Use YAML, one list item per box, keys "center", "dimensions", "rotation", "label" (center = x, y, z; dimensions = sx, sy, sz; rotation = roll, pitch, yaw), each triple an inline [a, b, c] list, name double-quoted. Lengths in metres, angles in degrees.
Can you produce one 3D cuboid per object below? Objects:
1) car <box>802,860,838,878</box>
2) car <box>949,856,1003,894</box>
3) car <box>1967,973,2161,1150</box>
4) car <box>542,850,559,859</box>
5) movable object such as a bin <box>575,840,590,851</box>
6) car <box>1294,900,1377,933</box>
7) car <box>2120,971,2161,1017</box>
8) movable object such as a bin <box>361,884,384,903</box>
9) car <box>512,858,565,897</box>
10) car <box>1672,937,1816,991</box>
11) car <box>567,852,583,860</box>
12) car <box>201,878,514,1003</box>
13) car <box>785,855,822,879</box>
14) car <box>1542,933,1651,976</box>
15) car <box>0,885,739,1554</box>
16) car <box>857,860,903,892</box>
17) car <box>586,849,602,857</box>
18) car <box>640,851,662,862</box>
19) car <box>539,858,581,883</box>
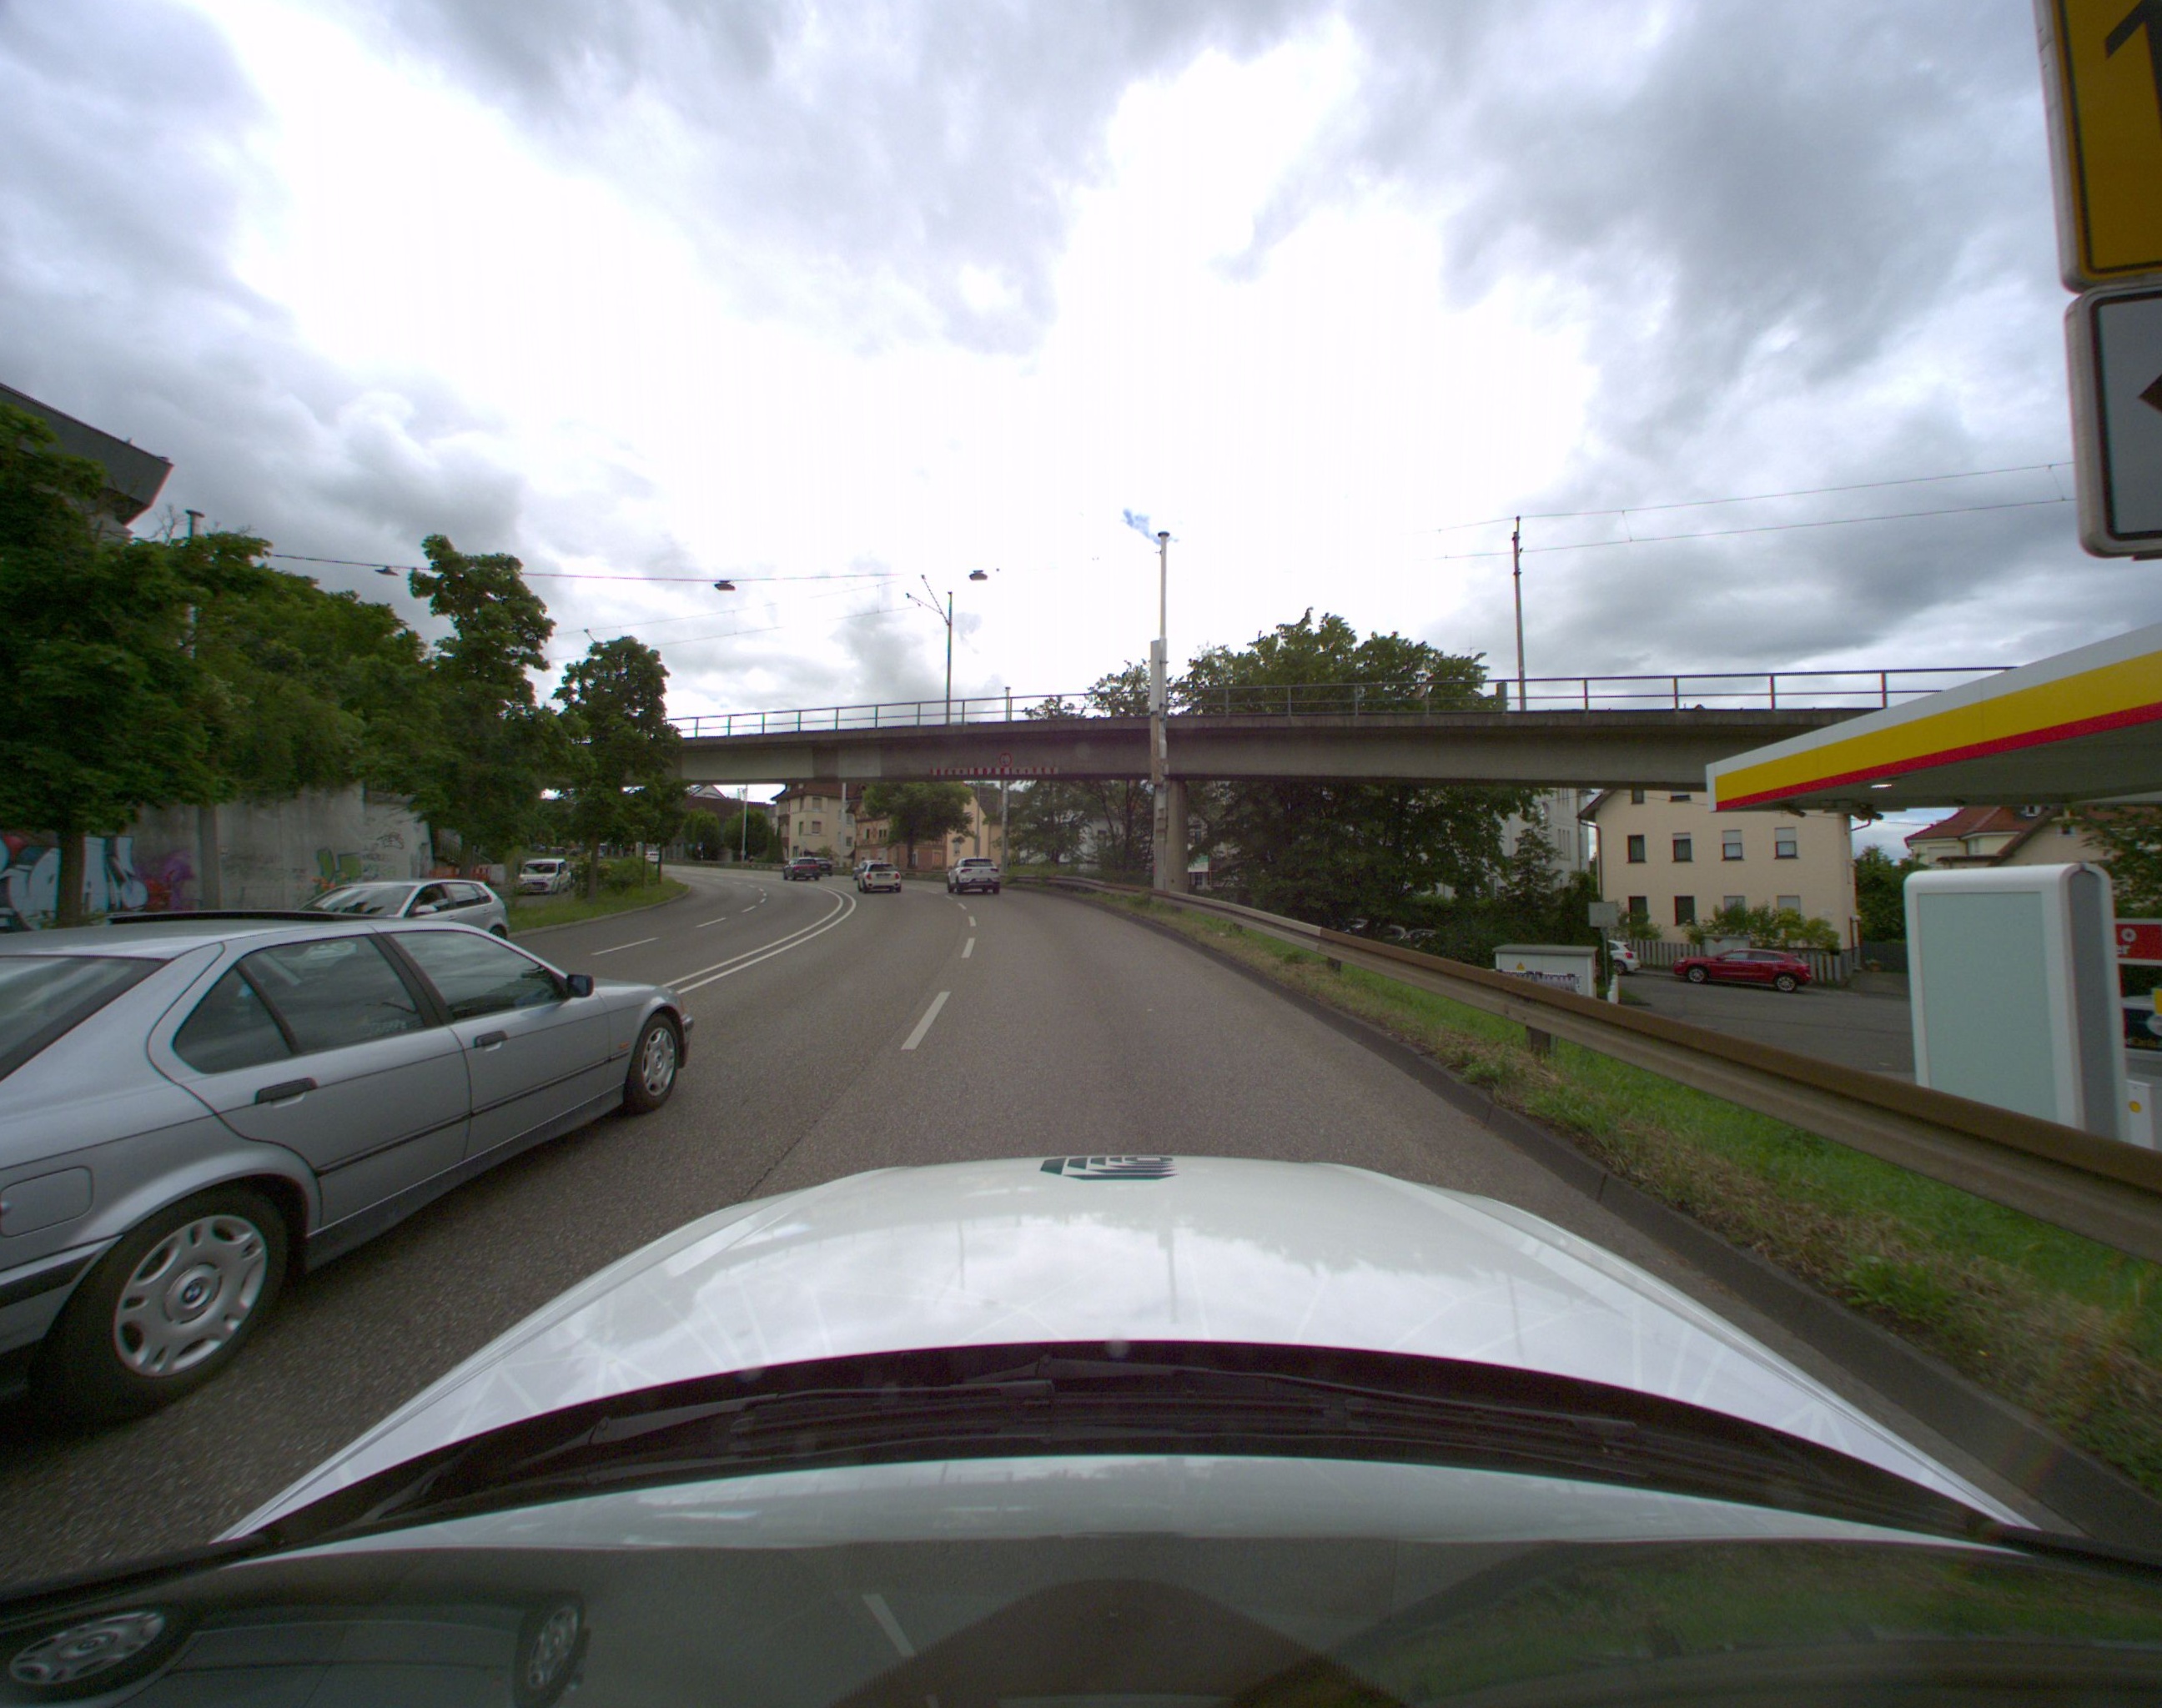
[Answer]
- center: [-21.658, 1.221, 67.473]
  dimensions: [1.737, 1.376, 3.417]
  rotation: [0, 0, -38]
  label: "car"
- center: [-4.583, 0.862, 35.041]
  dimensions: [1.801, 1.519, 3.437]
  rotation: [0, 0, -16]
  label: "car"
- center: [14.692, 2.780, 10.577]
  dimensions: [1.725, 2.011, 4.725]
  rotation: [-1, -3, 10]
  label: "car"
- center: [-92.529, 0.132, 142.032]
  dimensions: [1.738, 1.583, 3.414]
  rotation: [0, 0, -44]
  label: "car"
- center: [-96.403, -1.676, 157.576]
  dimensions: [1.509, 1.870, 1.909]
  rotation: [2, -2, 40]
  label: "movable object such as a bin"
- center: [13.735, 3.343, 44.083]
  dimensions: [3.980, 1.448, 1.633]
  rotation: [2, -2, 44]
  label: "car"
- center: [36.339, 4.656, 26.133]
  dimensions: [3.553, 1.349, 1.606]
  rotation: [4, -2, 10]
  label: "car"
- center: [-26.180, 1.452, 30.114]
  dimensions: [0.562, 0.640, 0.575]
  rotation: [4, -1, -37]
  label: "movable object such as a bin"
- center: [-28.164, 1.170, 42.395]
  dimensions: [1.776, 1.785, 4.425]
  rotation: [-2, 1, -28]
  label: "car"
- center: [25.986, 4.273, 32.025]
  dimensions: [4.250, 1.521, 1.634]
  rotation: [2, -1, 42]
  label: "car"
- center: [-86.558, 0.335, 139.290]
  dimensions: [1.738, 1.376, 3.415]
  rotation: [0, 0, -42]
  label: "car"
- center: [-10.546, 1.151, 12.307]
  dimensions: [1.702, 1.408, 3.797]
  rotation: [-1, 0, -9]
  label: "car"
- center: [-19.736, 0.873, 57.833]
  dimensions: [1.734, 1.640, 3.421]
  rotation: [0, 0, -32]
  label: "car"
- center: [22.386, 4.324, 35.434]
  dimensions: [3.723, 1.395, 1.660]
  rotation: [2, -2, 44]
  label: "car"
- center: [-3.358, 0.944, 3.709]
  dimensions: [1.629, 1.383, 4.619]
  rotation: [0, 0, 0]
  label: "car"
- center: [-9.612, 1.003, 38.795]
  dimensions: [1.729, 1.376, 3.432]
  rotation: [0, 0, -21]
  label: "car"
- center: [-85.085, -0.112, 142.165]
  dimensions: [1.738, 1.376, 3.415]
  rotation: [0, 0, -42]
  label: "car"
- center: [-54.520, 0.324, 103.210]
  dimensions: [1.738, 1.376, 3.415]
  rotation: [0, 0, -42]
  label: "car"
- center: [-31.687, 0.961, 49.596]
  dimensions: [1.776, 1.419, 3.769]
  rotation: [-1, 1, -28]
  label: "car"
